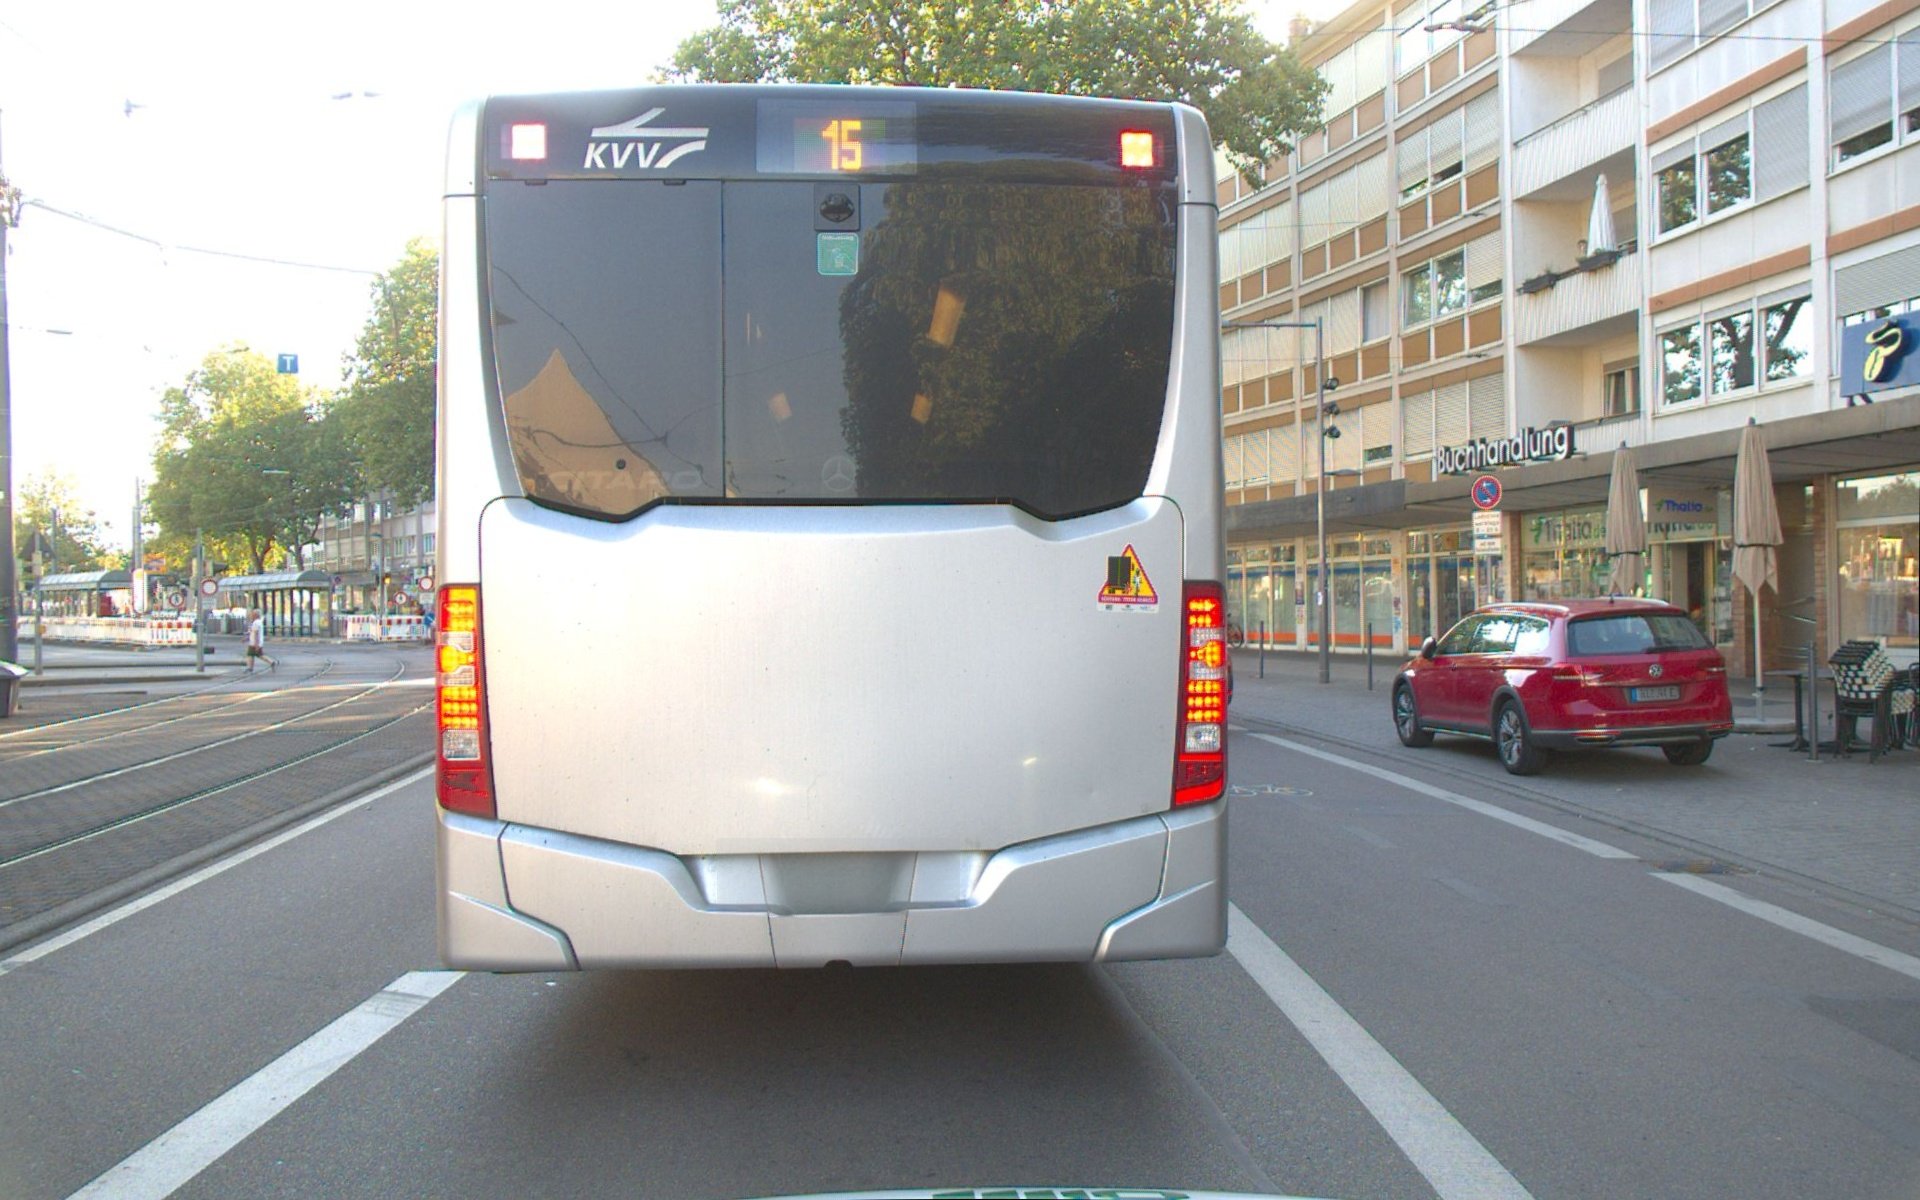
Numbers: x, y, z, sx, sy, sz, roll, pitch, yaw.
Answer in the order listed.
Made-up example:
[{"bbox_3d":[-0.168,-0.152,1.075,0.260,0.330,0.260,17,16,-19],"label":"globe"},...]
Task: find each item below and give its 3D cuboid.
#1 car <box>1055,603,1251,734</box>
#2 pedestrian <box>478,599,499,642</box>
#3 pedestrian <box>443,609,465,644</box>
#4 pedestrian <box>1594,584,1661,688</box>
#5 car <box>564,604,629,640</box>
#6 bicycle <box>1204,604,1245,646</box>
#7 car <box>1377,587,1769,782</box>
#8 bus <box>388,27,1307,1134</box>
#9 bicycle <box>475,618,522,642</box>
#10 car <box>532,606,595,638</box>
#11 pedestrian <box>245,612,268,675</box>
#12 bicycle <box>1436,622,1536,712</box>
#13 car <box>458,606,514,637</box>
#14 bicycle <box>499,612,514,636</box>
[{"bbox_3d":[2.339,0.795,21.056,1.768,1.499,4.068,0,0,-4],"label":"car"},{"bbox_3d":[-19.527,0.861,68.460,0.704,1.755,0.399,-1,0,7],"label":"pedestrian"},{"bbox_3d":[-20.036,1.045,65.475,0.766,1.326,0.590,-1,0,-22],"label":"pedestrian"},{"bbox_3d":[10.418,0.553,25.827,0.627,1.579,0.806,-1,0,-8],"label":"pedestrian"},{"bbox_3d":[-17.022,1.016,77.371,1.650,1.542,3.367,-5,3,-37],"label":"car"},{"bbox_3d":[7.268,0.685,45.537,0.431,1.111,1.453,-3,1,-20],"label":"bicycle"},{"bbox_3d":[5.683,0.702,16.044,1.744,1.522,4.563,-3,0,-5],"label":"car"},{"bbox_3d":[-0.536,-0.047,9.886,2.605,3.153,10.210,-1,0,-3],"label":"bus"},{"bbox_3d":[-19.242,1.240,68.953,1.801,0.959,0.464,-1,0,7],"label":"bicycle"},{"bbox_3d":[-19.346,1.078,80.651,1.652,1.419,3.364,-5,3,-39],"label":"car"},{"bbox_3d":[-17.126,1.051,40.270,0.513,1.530,0.589,-1,0,-24],"label":"pedestrian"},{"bbox_3d":[6.879,0.851,21.708,0.502,1.089,1.657,-3,0,-10],"label":"bicycle"},{"bbox_3d":[-25.122,1.103,87.620,1.651,1.494,3.365,-5,3,-38],"label":"car"},{"bbox_3d":[-23.179,1.220,84.550,0.500,1.232,2.079,-1,0,-21],"label":"bicycle"}]
